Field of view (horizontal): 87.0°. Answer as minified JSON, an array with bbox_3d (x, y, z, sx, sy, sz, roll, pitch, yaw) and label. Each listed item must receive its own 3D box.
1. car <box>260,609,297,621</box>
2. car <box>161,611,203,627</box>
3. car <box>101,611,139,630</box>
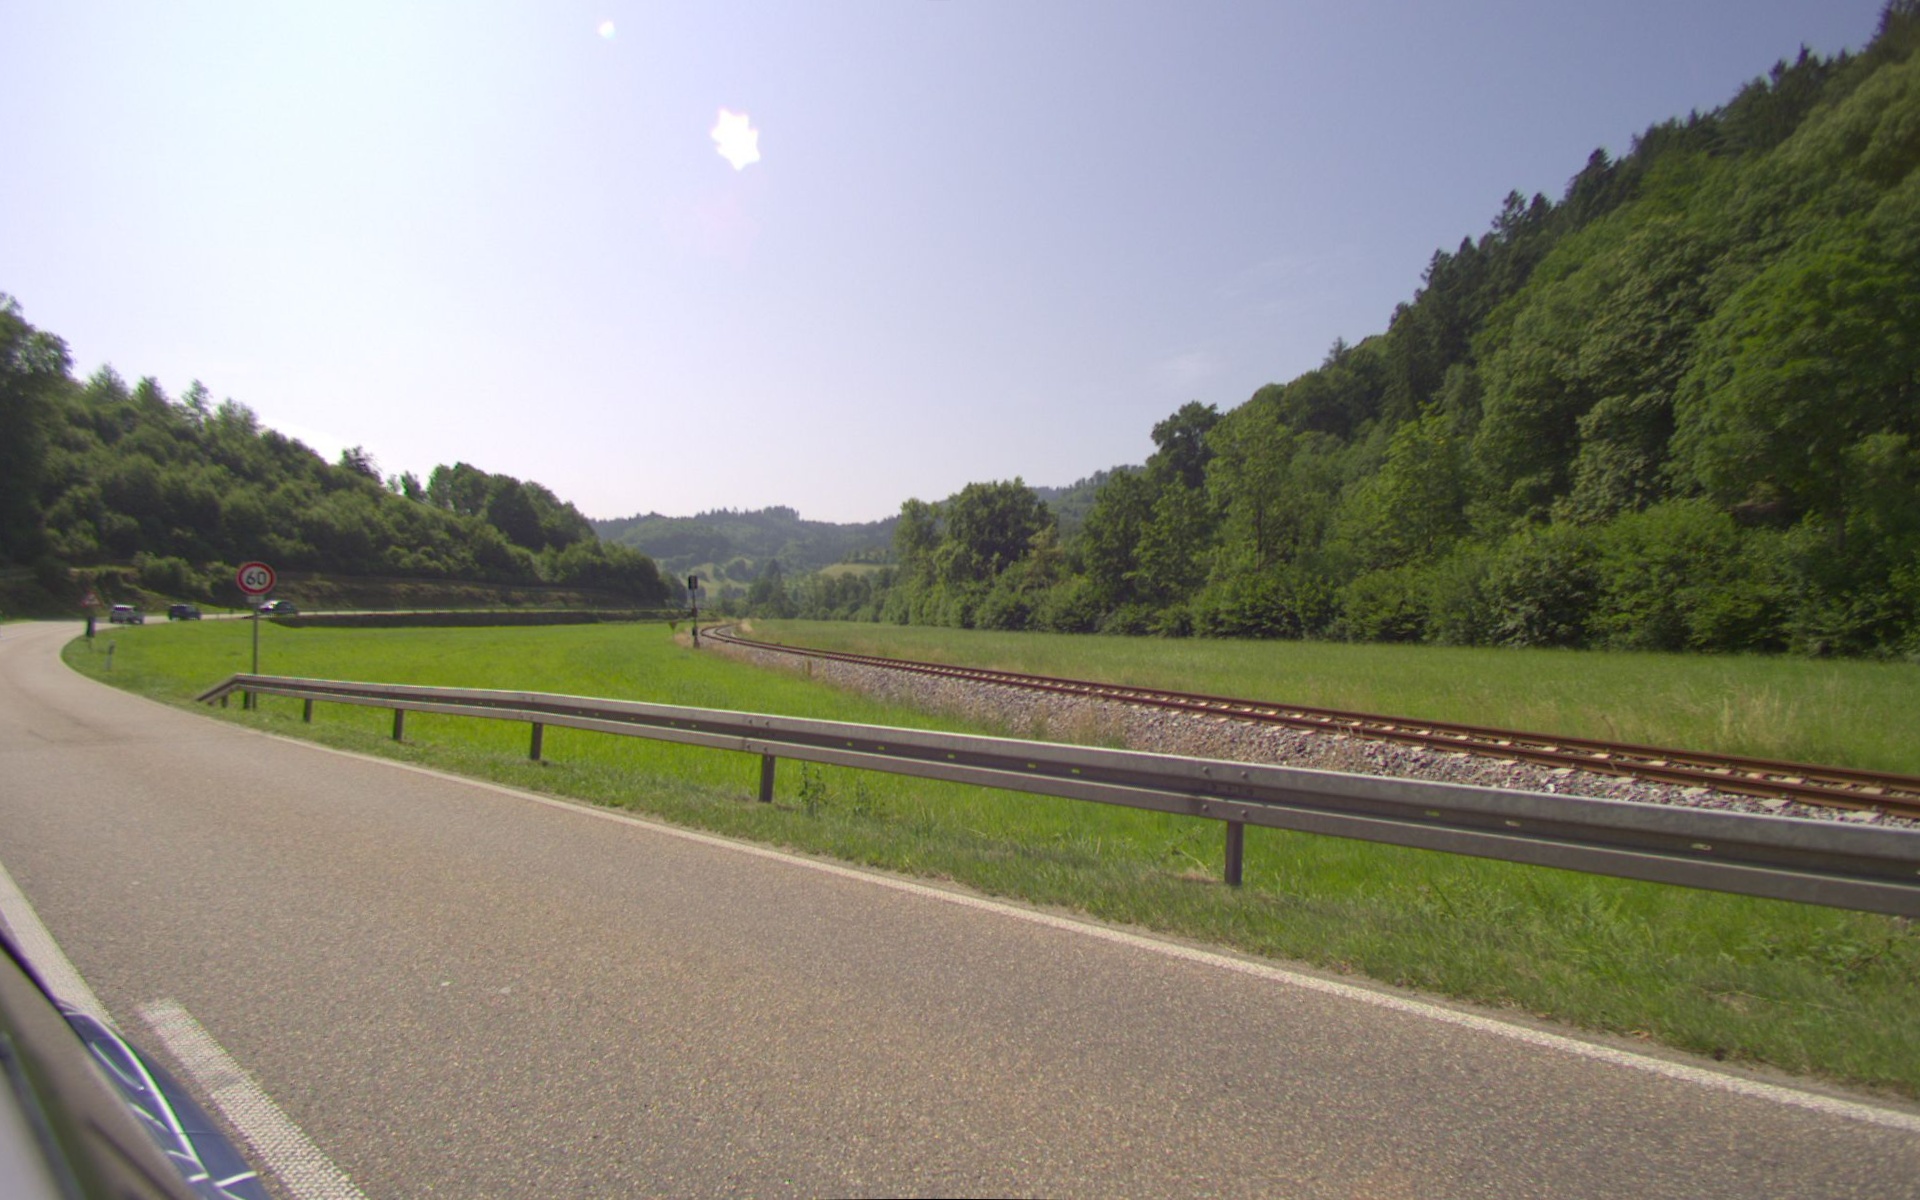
[{"bbox_3d":[-87.735,1.926,130.309,1.894,1.482,4.514,-2,-1,-4],"label":"car"},{"bbox_3d":[-83.680,2.010,108.934,1.840,1.636,4.522,-2,0,-14],"label":"car"},{"bbox_3d":[-78.869,1.959,95.092,1.888,1.727,4.172,2,-2,-28],"label":"car"}]
